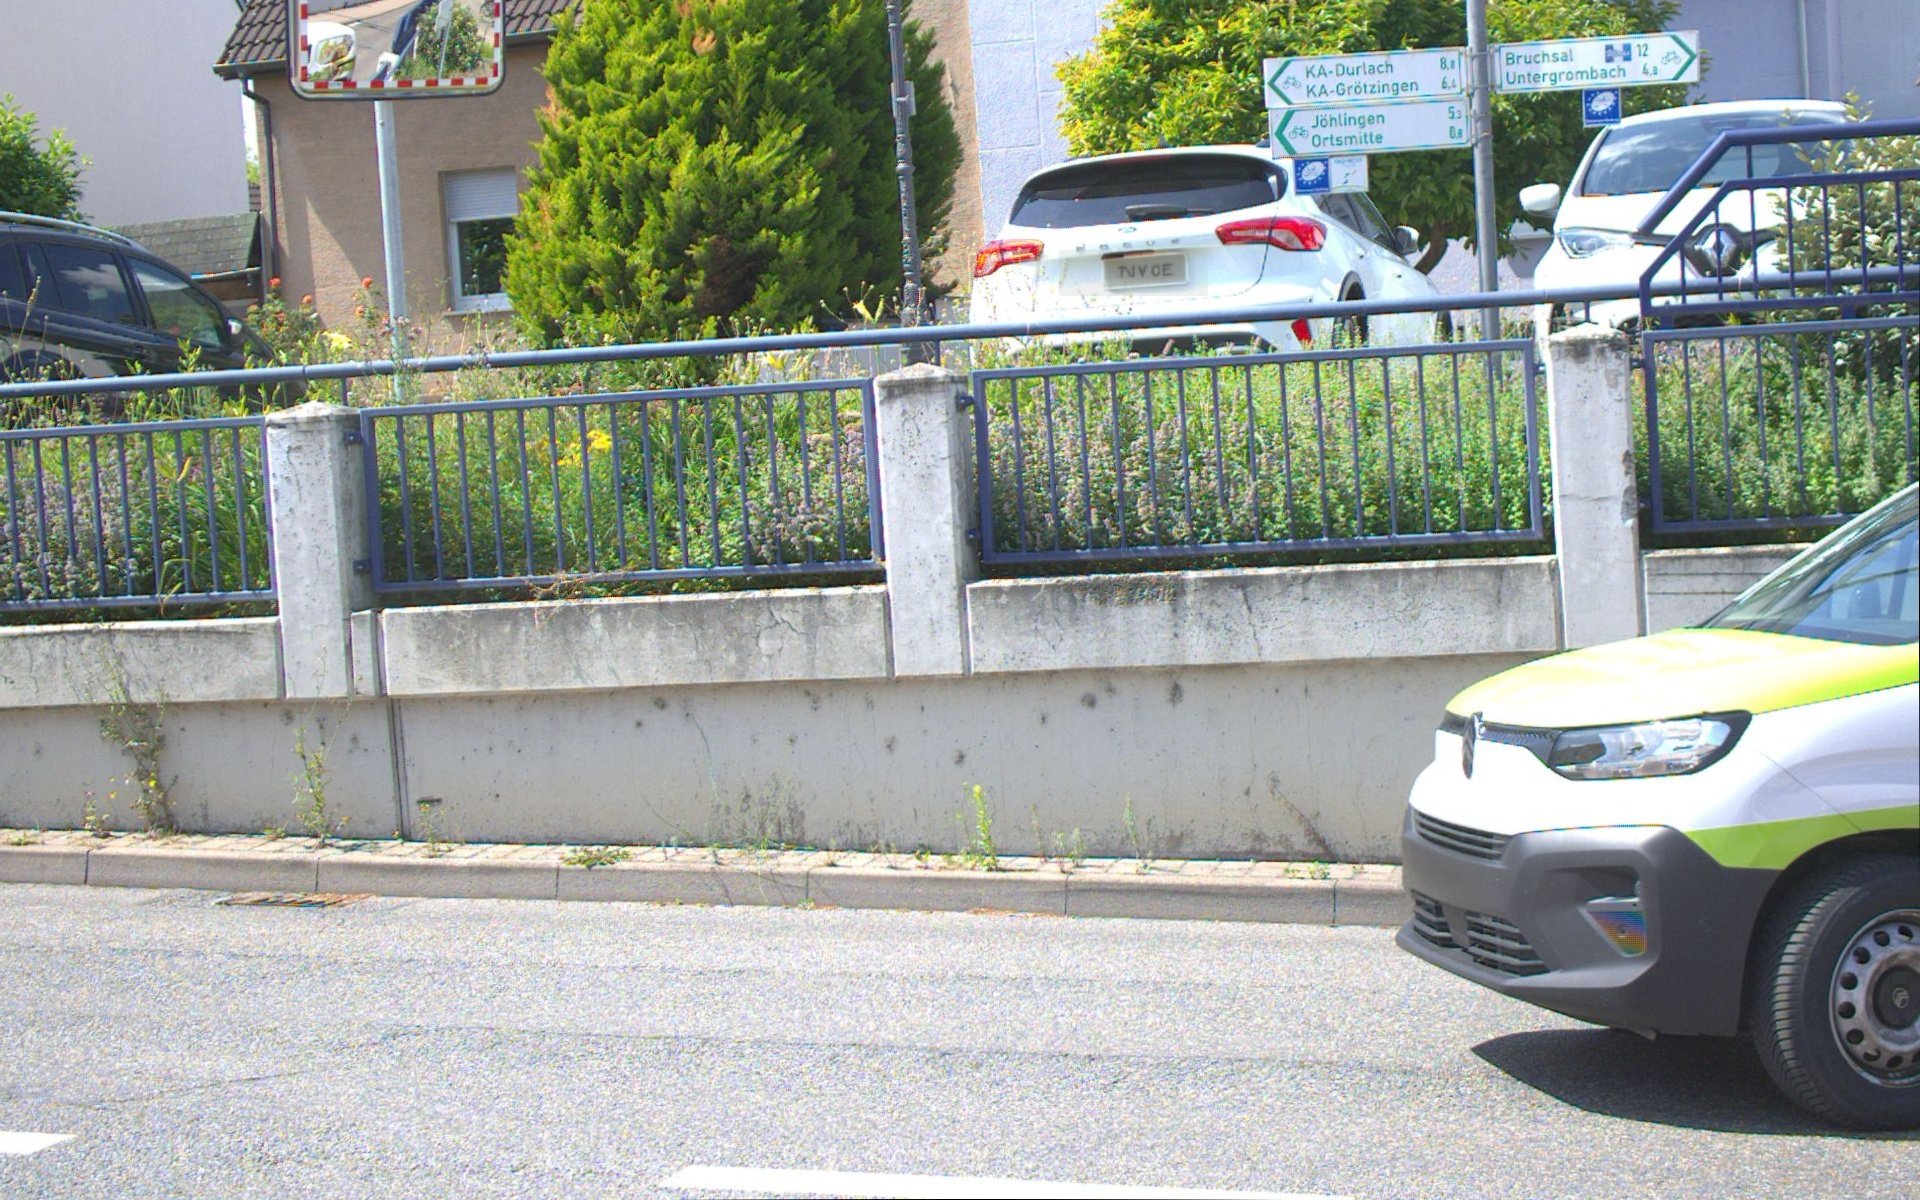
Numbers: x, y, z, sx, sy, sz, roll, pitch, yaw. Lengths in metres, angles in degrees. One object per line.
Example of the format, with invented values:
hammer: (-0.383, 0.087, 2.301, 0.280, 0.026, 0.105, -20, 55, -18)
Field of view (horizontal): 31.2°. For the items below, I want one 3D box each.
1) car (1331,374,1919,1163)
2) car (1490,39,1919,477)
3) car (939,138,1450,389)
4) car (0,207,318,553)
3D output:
car: (3.466, 0.381, 9.267, 4.543, 1.848, 1.818, 1, 3, -9)
car: (3.821, -1.498, 16.380, 1.995, 1.791, 4.194, 2, 2, 16)
car: (1.270, -1.611, 17.109, 1.826, 1.016, 3.457, 2, 2, 16)
car: (-5.426, -1.213, 19.566, 1.869, 1.791, 3.997, 2, 2, 16)
